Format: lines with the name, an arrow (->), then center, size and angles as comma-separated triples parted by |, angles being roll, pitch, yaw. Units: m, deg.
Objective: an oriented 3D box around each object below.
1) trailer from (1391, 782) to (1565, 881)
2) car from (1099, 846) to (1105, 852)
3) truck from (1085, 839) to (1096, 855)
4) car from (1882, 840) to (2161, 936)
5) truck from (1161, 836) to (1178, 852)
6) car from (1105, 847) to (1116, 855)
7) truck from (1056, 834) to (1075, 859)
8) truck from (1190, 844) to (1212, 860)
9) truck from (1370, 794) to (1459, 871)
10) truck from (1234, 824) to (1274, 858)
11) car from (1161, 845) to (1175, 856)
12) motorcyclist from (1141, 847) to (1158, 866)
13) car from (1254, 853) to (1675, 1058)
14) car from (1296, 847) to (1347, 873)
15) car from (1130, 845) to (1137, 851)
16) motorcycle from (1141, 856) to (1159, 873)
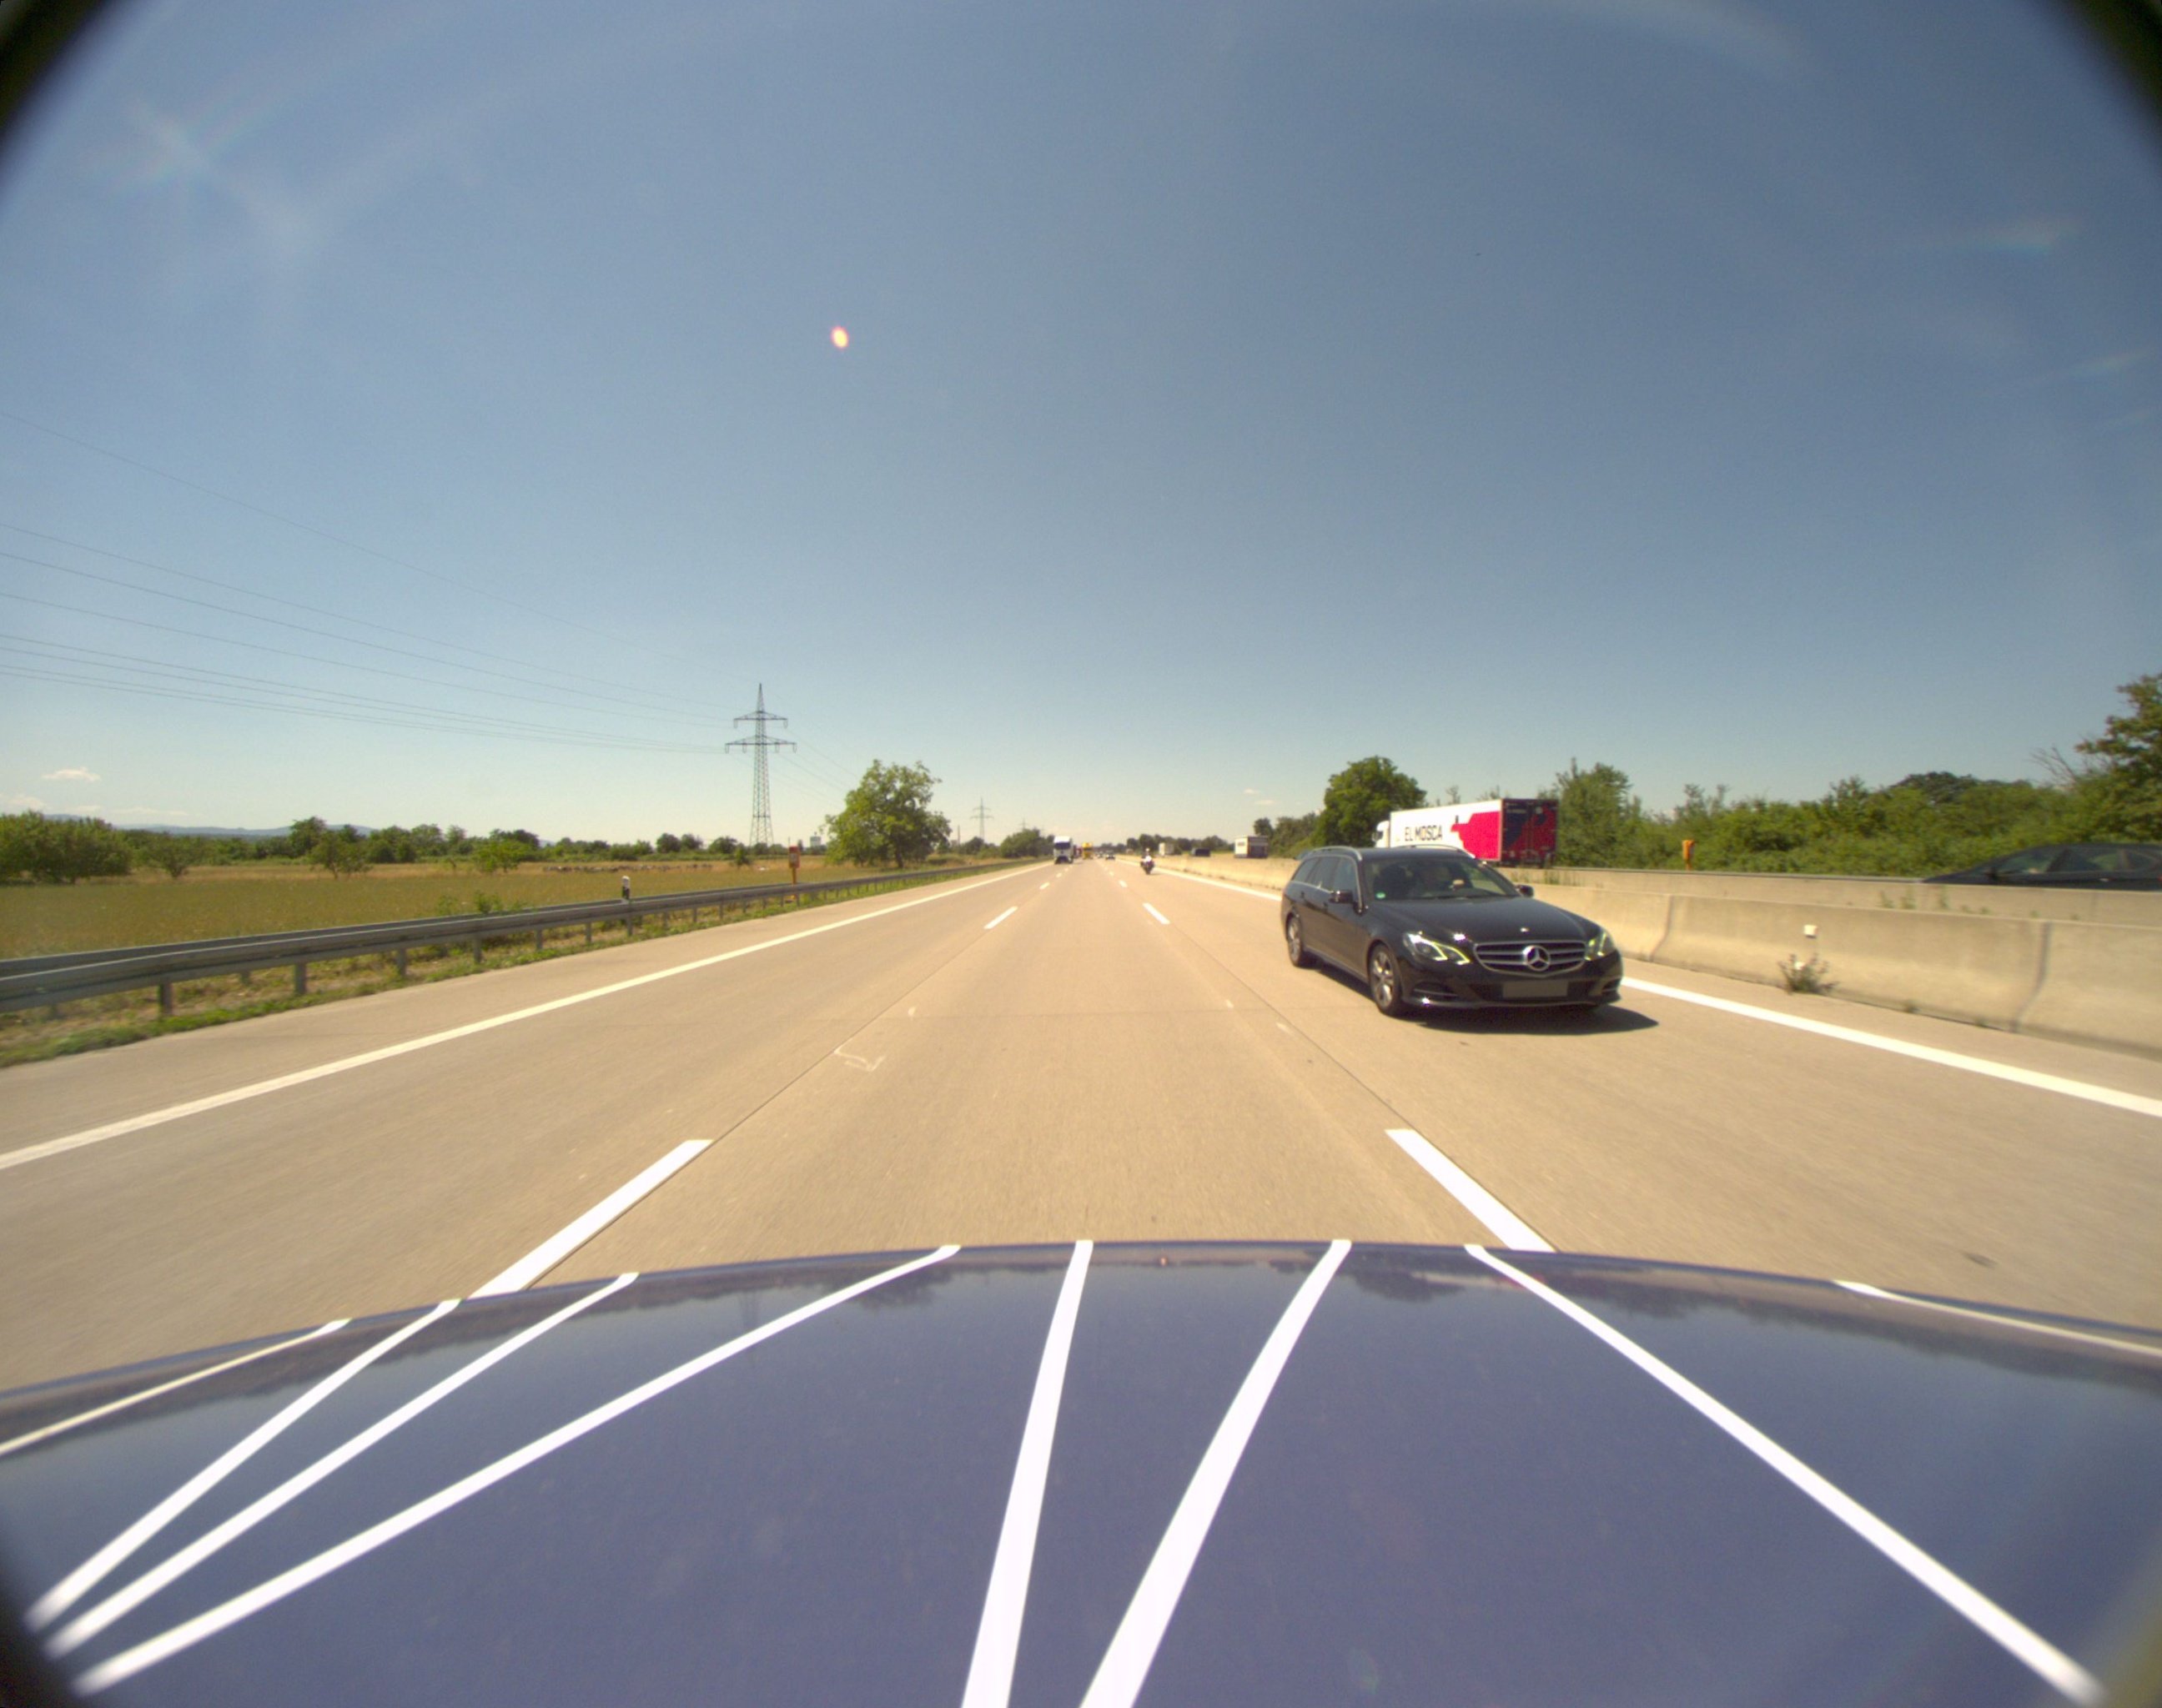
trailer -> 20.921, -1.083, 41.489 | 2.809, 4.511, 13.233 | -1, 0, 1
car -> 5.974, -1.380, 217.376 | 1.586, 1.527, 3.611 | -1, 1, 1
truck -> 2.263, -1.744, 187.587 | 2.570, 3.711, 10.099 | -1, 0, 1
car -> 16.727, 0.478, 12.833 | 1.628, 1.392, 4.546 | -1, 0, 1
truck -> 23.460, -2.543, 201.499 | 3.569, 3.977, 7.519 | -2, 1, 1
car -> 5.670, -0.644, 147.622 | 1.998, 1.518, 4.000 | -1, 0, 1
truck -> -2.265, -1.145, 114.514 | 2.570, 3.514, 10.099 | -1, 0, 1
truck -> 13.618, -0.183, 86.525 | 1.866, 1.750, 3.950 | -1, 1, 1
truck -> 21.048, -1.273, 48.352 | 2.809, 4.511, 6.661 | -1, 1, 1
truck -> 21.949, -1.605, 96.940 | 3.240, 4.150, 8.127 | -1, 1, 1
car -> 14.619, -0.631, 127.323 | 1.866, 1.750, 3.950 | -1, 1, 1
motorcyclist -> 4.465, 0.155, 49.592 | 1.027, 1.202, 0.911 | -1, 1, 2
car -> 3.485, 0.750, 8.432 | 1.895, 1.465, 5.603 | -1, 0, 1
car -> 13.552, 0.296, 42.984 | 1.745, 1.392, 3.807 | -1, 0, 1
car -> 16.243, -1.820, 234.474 | 1.889, 1.724, 4.000 | -2, 1, 1
motorcycle -> 4.486, 0.695, 49.775 | 1.023, 1.042, 2.413 | -1, 0, 2
